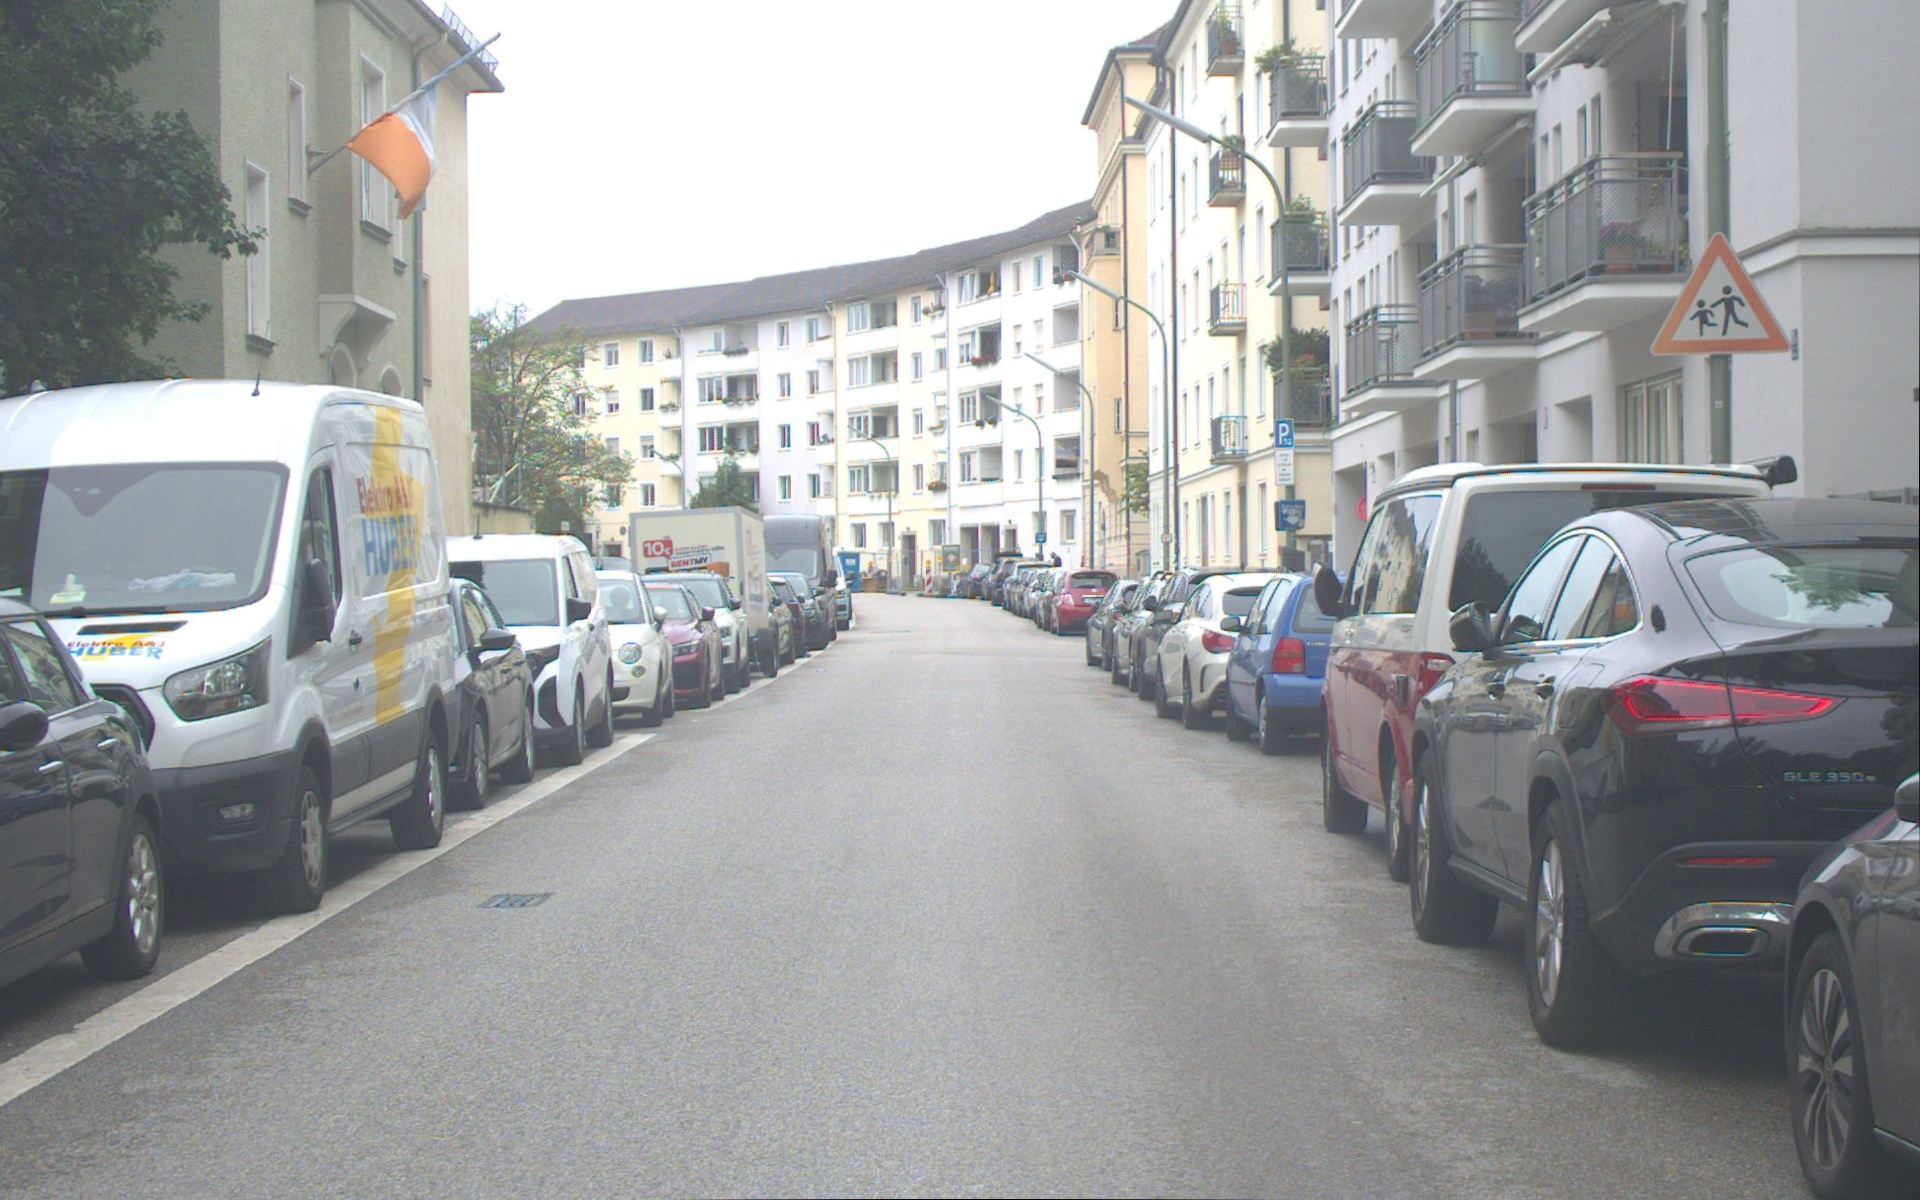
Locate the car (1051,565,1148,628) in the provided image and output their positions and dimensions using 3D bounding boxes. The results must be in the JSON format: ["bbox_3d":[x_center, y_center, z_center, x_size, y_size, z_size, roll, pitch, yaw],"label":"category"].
[{"bbox_3d":[3.141,-0.103,78.084,1.782,1.380,4.001,0,1,-4],"label":"car"}]

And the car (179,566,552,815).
[{"bbox_3d":[-3.753,0.525,22.320,1.744,1.440,4.000,-1,0,-1],"label":"car"}]

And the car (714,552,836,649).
[{"bbox_3d":[-3.474,-0.007,65.389,1.993,1.756,4.381,-1,0,1],"label":"car"}]

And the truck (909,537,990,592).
[{"bbox_3d":[-0.467,-1.538,146.688,2.225,2.292,5.292,0,1,-14],"label":"truck"}]

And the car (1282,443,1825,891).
[{"bbox_3d":[2.868,0.284,17.703,1.869,1.961,4.817,-1,0,-1],"label":"car"}]

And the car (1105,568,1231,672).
[{"bbox_3d":[3.011,0.268,50.313,1.649,1.429,4.284,-1,0,1],"label":"car"}]

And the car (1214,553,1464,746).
[{"bbox_3d":[3.002,0.364,27.798,1.608,1.429,3.619,-1,0,0],"label":"car"}]

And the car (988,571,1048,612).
[{"bbox_3d":[2.045,-0.316,121.931,1.782,1.380,4.001,0,1,-4],"label":"car"}]

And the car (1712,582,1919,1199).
[{"bbox_3d":[2.833,0.711,6.681,1.727,1.454,4.416,1,0,0],"label":"car"}]

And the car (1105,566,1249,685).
[{"bbox_3d":[2.749,0.305,44.176,1.649,1.429,4.000,-1,0,1],"label":"car"}]

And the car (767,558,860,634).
[{"bbox_3d":[-3.531,-0.102,83.505,1.993,1.756,4.381,-1,0,1],"label":"car"}]

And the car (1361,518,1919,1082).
[{"bbox_3d":[2.640,0.534,11.906,1.859,1.546,4.753,-1,0,-1],"label":"car"}]

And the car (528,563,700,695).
[{"bbox_3d":[-3.799,0.296,38.262,1.751,1.364,4.000,-1,0,-4],"label":"car"}]

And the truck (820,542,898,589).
[{"bbox_3d":[-4.968,-1.696,167.902,2.621,2.292,5.442,0,1,-15],"label":"truck"}]

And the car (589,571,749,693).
[{"bbox_3d":[-3.680,0.381,44.016,1.795,1.464,3.867,-1,0,-1],"label":"car"}]

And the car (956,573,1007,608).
[{"bbox_3d":[0.872,-0.388,139.320,1.782,1.380,4.001,0,1,-4],"label":"car"}]

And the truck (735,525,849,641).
[{"bbox_3d":[-3.471,-0.359,71.976,1.993,2.311,5.410,-1,0,1],"label":"truck"}]

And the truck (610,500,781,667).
[{"bbox_3d":[-3.849,-0.241,50.912,1.993,2.311,5.410,-1,0,1],"label":"truck"}]

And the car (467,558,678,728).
[{"bbox_3d":[-3.725,0.386,33.624,1.846,1.535,4.000,-1,0,-4],"label":"car"}]

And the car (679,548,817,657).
[{"bbox_3d":[-3.584,0.029,58.800,1.993,1.756,4.381,-1,0,1],"label":"car"}]

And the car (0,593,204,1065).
[{"bbox_3d":[-3.777,0.722,11.165,1.698,1.426,3.830,-2,0,1],"label":"car"}]

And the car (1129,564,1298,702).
[{"bbox_3d":[2.774,0.336,38.331,1.649,1.429,4.000,-1,0,1],"label":"car"}]

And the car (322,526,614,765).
[{"bbox_3d":[-3.770,0.318,26.950,1.820,1.705,4.000,-1,0,-2],"label":"car"}]

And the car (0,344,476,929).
[{"bbox_3d":[-3.812,0.142,16.574,2.137,2.341,5.370,-1,0,0],"label":"car"}]

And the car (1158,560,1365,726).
[{"bbox_3d":[2.759,0.369,32.191,1.649,1.429,4.000,-1,0,1],"label":"car"}]
